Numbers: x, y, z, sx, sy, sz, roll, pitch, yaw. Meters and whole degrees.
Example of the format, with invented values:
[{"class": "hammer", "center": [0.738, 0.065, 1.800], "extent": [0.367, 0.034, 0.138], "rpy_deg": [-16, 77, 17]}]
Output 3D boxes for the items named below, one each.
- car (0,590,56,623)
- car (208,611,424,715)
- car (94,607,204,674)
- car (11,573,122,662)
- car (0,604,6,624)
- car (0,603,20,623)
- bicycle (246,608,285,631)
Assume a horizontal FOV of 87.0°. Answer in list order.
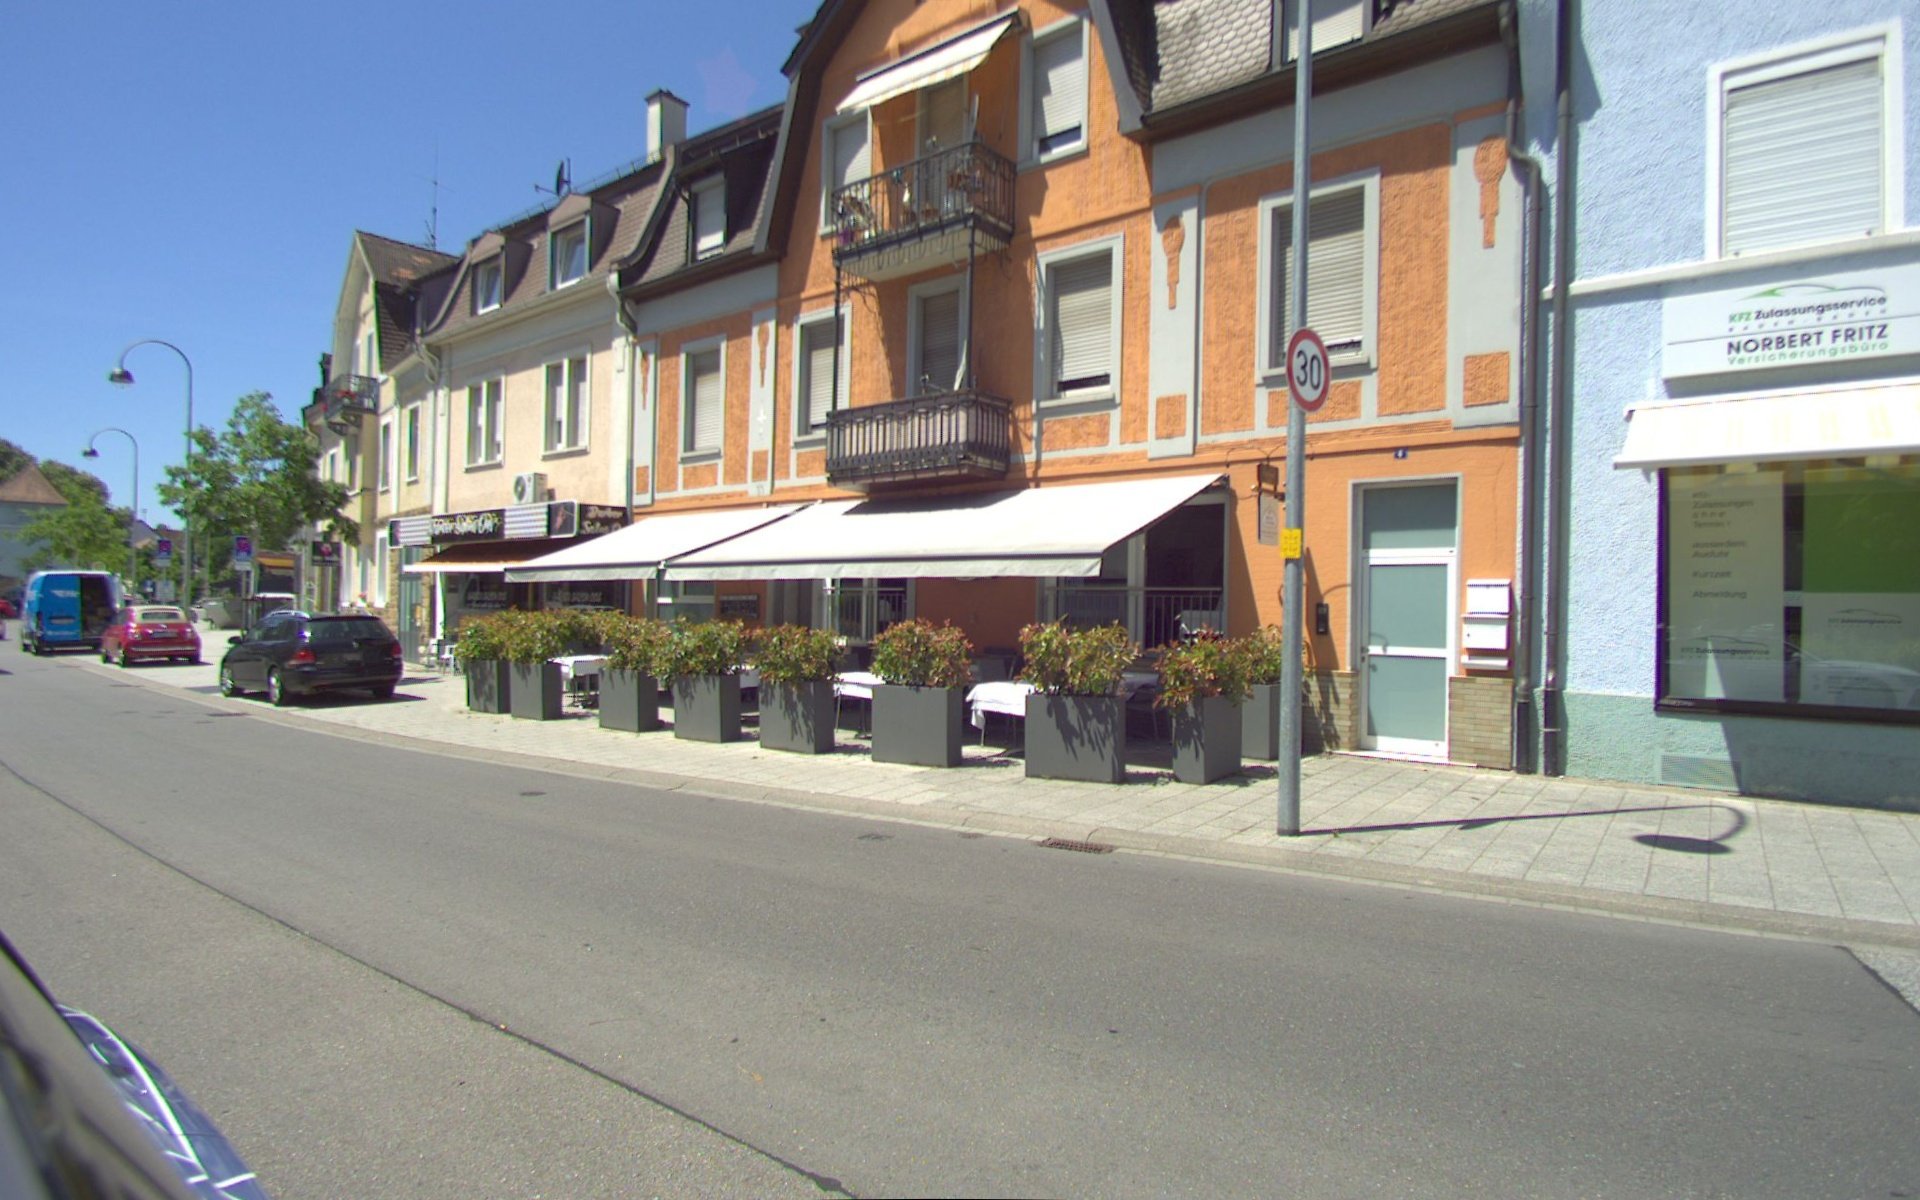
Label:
[{"class": "car", "center": [-81.911, 0.550, 87.789], "extent": [4.788, 2.757, 1.856], "rpy_deg": [3, -2, -32]}, {"class": "car", "center": [-11.075, 0.971, 17.290], "extent": [4.334, 1.493, 1.896], "rpy_deg": [0, 1, 40]}, {"class": "car", "center": [-20.886, 0.986, 26.021], "extent": [3.513, 1.532, 1.544], "rpy_deg": [1, 0, 40]}, {"class": "car", "center": [-27.751, 0.510, 31.359], "extent": [5.504, 2.517, 2.069], "rpy_deg": [0, 0, 43]}, {"class": "car", "center": [-71.971, 0.921, 73.533], "extent": [3.558, 1.473, 1.621], "rpy_deg": [4, -2, -33]}, {"class": "car", "center": [-73.226, 0.958, 75.832], "extent": [3.756, 1.473, 1.656], "rpy_deg": [3, -2, -33]}, {"class": "bicycle", "center": [-38.935, 1.113, 56.740], "extent": [1.743, 1.244, 0.617], "rpy_deg": [3, -2, -40]}]
